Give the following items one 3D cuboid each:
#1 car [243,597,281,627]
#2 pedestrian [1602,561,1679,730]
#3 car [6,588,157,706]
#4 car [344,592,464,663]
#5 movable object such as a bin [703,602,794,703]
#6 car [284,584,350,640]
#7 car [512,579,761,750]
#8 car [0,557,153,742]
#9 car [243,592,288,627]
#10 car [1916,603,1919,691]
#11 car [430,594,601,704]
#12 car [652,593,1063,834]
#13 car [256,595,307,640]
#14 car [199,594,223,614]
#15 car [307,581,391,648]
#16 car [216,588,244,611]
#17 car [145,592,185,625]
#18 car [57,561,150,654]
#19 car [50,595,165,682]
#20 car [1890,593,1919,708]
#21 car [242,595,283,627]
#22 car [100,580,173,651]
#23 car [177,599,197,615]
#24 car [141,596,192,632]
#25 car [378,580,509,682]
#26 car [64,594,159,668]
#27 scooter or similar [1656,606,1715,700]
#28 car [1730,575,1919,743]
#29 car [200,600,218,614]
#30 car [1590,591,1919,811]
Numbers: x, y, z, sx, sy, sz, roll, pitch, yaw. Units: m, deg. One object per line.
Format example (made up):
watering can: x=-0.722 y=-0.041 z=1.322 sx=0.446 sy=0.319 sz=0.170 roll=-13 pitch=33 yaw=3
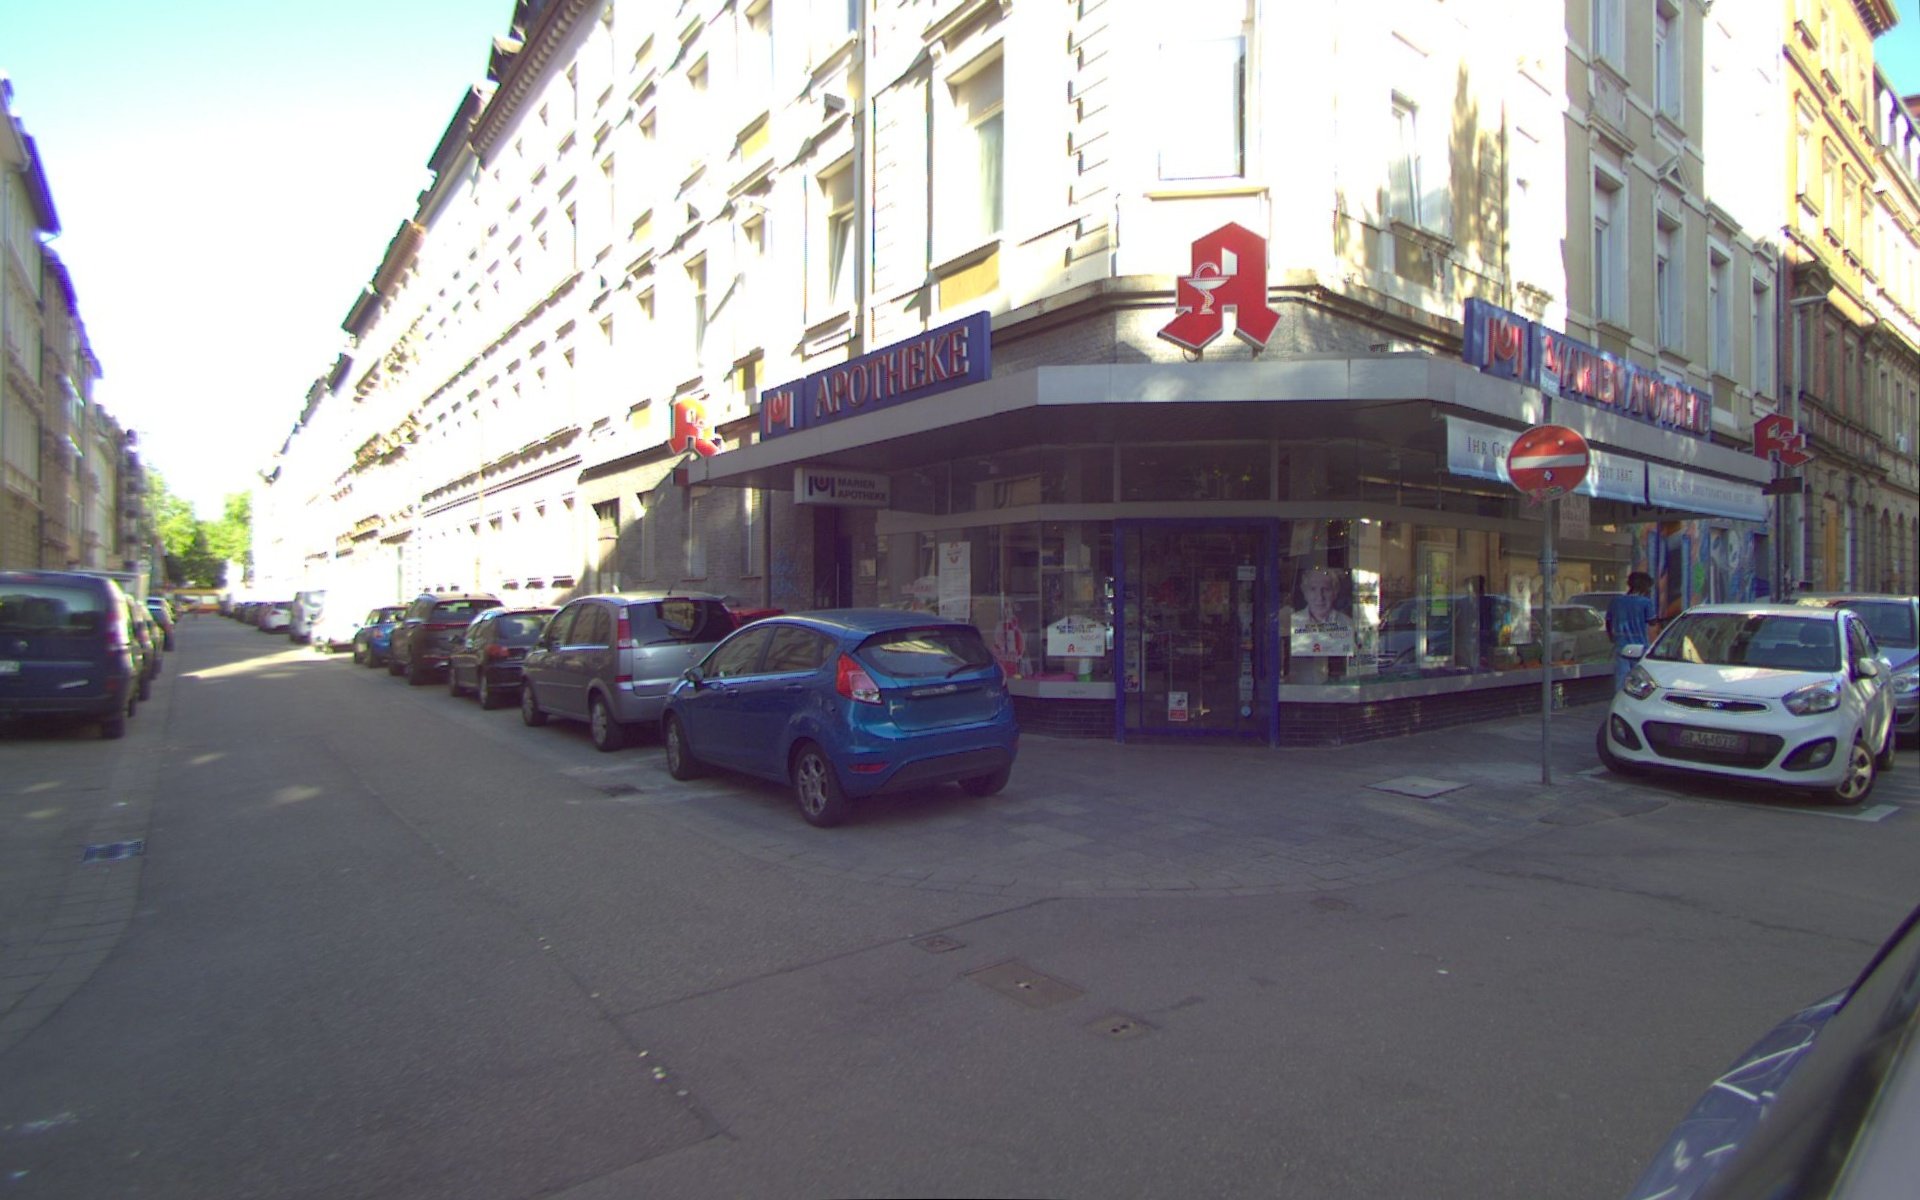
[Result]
car: x=-48.820 y=0.866 z=70.753 sx=1.964 sy=2.039 sz=3.996 roll=-1 pitch=-1 yaw=-38
pedestrian: x=8.011 y=0.521 z=11.919 sx=0.520 sy=1.918 sz=0.563 roll=0 pitch=-1 yaw=-38
car: x=-13.832 y=0.648 z=16.112 sx=1.557 sy=1.632 sz=3.939 roll=-1 pitch=0 yaw=-37
car: x=-13.522 y=0.651 z=24.529 sx=1.964 sy=1.545 sz=3.635 roll=-1 pitch=-1 yaw=-38
movable object such as a bin: x=-2.923 y=0.695 z=13.950 sx=0.846 sy=1.300 sz=1.020 roll=-2 pitch=-1 yaw=-37
car: x=-24.731 y=0.474 z=38.848 sx=1.701 sy=2.058 sz=4.194 roll=-1 pitch=-1 yaw=-38
car: x=-3.878 y=0.634 z=11.758 sx=1.600 sy=1.651 sz=3.744 roll=0 pitch=0 yaw=-37
car: x=-10.770 y=0.512 z=11.892 sx=1.833 sy=1.864 sz=3.935 roll=3 pitch=-2 yaw=-37
car: x=-41.701 y=0.591 z=60.735 sx=1.964 sy=2.039 sz=3.996 roll=-1 pitch=-1 yaw=-38
car: x=18.418 y=0.758 z=17.811 sx=3.839 sy=1.506 sz=1.591 roll=-1 pitch=-1 yaw=-36
car: x=-7.027 y=0.673 z=15.777 sx=1.531 sy=1.473 sz=3.987 roll=-1 pitch=0 yaw=-37
car: x=-1.026 y=0.717 z=8.347 sx=1.756 sy=1.505 sz=3.582 roll=0 pitch=0 yaw=-37
car: x=-32.565 y=0.855 z=48.526 sx=1.701 sy=2.058 sz=4.194 roll=-1 pitch=-1 yaw=-38
car: x=-80.456 y=0.388 z=108.692 sx=1.964 sy=2.039 sz=3.995 roll=-1 pitch=-1 yaw=-39
car: x=-18.674 y=0.459 z=30.851 sx=1.701 sy=1.896 sz=3.939 roll=-1 pitch=-1 yaw=-38
car: x=-68.599 y=-0.041 z=95.073 sx=1.964 sy=2.039 sz=3.995 roll=-1 pitch=-1 yaw=-39
car: x=-43.904 y=0.435 z=55.952 sx=1.702 sy=1.775 sz=3.272 roll=0 pitch=0 yaw=-37
car: x=-23.781 y=0.192 z=28.208 sx=1.803 sy=2.410 sz=3.423 roll=-1 pitch=0 yaw=-38
car: x=-16.919 y=0.686 z=20.227 sx=1.557 sy=1.542 sz=4.050 roll=-1 pitch=0 yaw=-37
car: x=14.847 y=0.647 z=14.499 sx=4.124 sy=1.546 sz=1.558 roll=-1 pitch=-1 yaw=-38
car: x=-45.676 y=0.743 z=66.247 sx=1.964 sy=2.039 sz=3.996 roll=-1 pitch=-1 yaw=-38
car: x=-26.415 y=0.465 z=32.554 sx=1.702 sy=2.169 sz=3.272 roll=-1 pitch=0 yaw=-37
car: x=-99.319 y=0.913 z=130.026 sx=1.964 sy=1.939 sz=3.996 roll=-1 pitch=-1 yaw=-38
car: x=-34.822 y=0.580 z=44.464 sx=1.702 sy=1.523 sz=3.272 roll=0 pitch=0 yaw=-37
car: x=-9.954 y=0.523 z=19.350 sx=1.531 sy=1.739 sz=3.987 roll=-1 pitch=0 yaw=-37
car: x=-20.227 y=0.686 z=24.235 sx=1.557 sy=1.626 sz=3.582 roll=-1 pitch=0 yaw=-37
scooter or similar: x=10.514 y=0.748 z=14.660 sx=1.018 sy=1.296 sz=0.396 roll=-1 pitch=-1 yaw=-38
car: x=10.658 y=0.571 z=11.859 sx=3.991 sy=1.671 sz=1.703 roll=-1 pitch=-1 yaw=-39
car: x=-106.300 y=1.032 z=143.263 sx=1.964 sy=1.939 sz=3.996 roll=-1 pitch=-1 yaw=-38
car: x=7.056 y=0.704 z=8.789 sx=3.577 sy=1.481 sz=1.691 roll=-1 pitch=-1 yaw=-41
